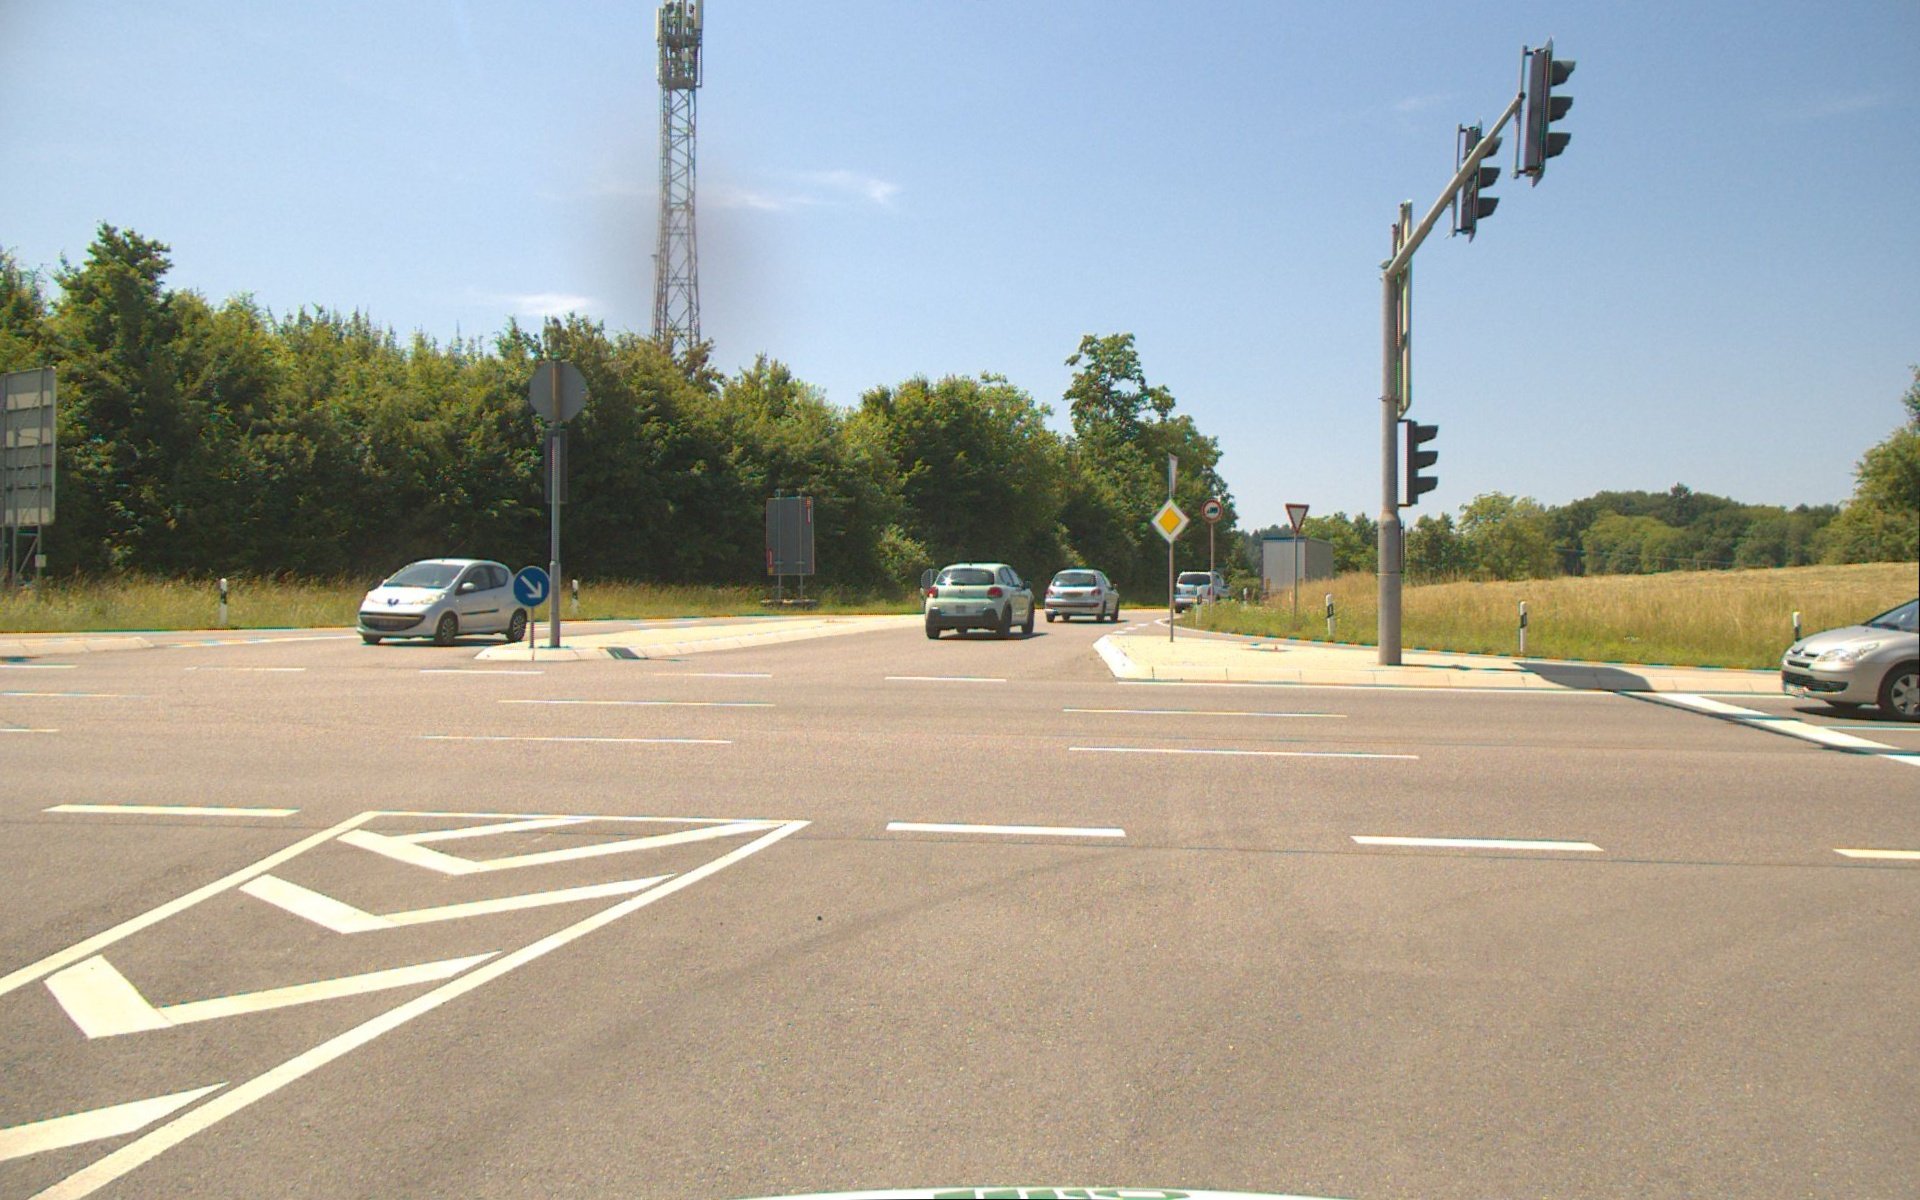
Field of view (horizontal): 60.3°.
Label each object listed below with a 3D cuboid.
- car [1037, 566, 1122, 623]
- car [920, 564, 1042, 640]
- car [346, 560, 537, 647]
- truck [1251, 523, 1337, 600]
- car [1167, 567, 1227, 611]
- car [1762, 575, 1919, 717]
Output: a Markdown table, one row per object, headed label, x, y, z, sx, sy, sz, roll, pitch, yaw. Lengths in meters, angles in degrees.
| label | x | y | z | sx | sy | sz | roll | pitch | yaw |
| --- | --- | --- | --- | --- | --- | --- | --- | --- | --- |
| car | 3.373 | -0.190 | 46.079 | 1.774 | 1.437 | 3.787 | 1 | 2 | 13 |
| car | 0.502 | -0.003 | 34.401 | 1.692 | 1.428 | 3.991 | 1 | 2 | 13 |
| car | -9.053 | 0.012 | 29.144 | 1.532 | 1.394 | 3.534 | 1 | 2 | 16 |
| truck | 20.235 | -2.196 | 99.262 | 3.060 | 4.245 | 16.694 | 1 | 1 | 18 |
| car | 9.652 | -0.478 | 67.055 | 1.774 | 1.653 | 4.062 | 0 | 2 | 17 |
| car | 11.625 | 0.521 | 18.882 | 4.069 | 1.495 | 1.731 | 1 | 2 | 4 |
